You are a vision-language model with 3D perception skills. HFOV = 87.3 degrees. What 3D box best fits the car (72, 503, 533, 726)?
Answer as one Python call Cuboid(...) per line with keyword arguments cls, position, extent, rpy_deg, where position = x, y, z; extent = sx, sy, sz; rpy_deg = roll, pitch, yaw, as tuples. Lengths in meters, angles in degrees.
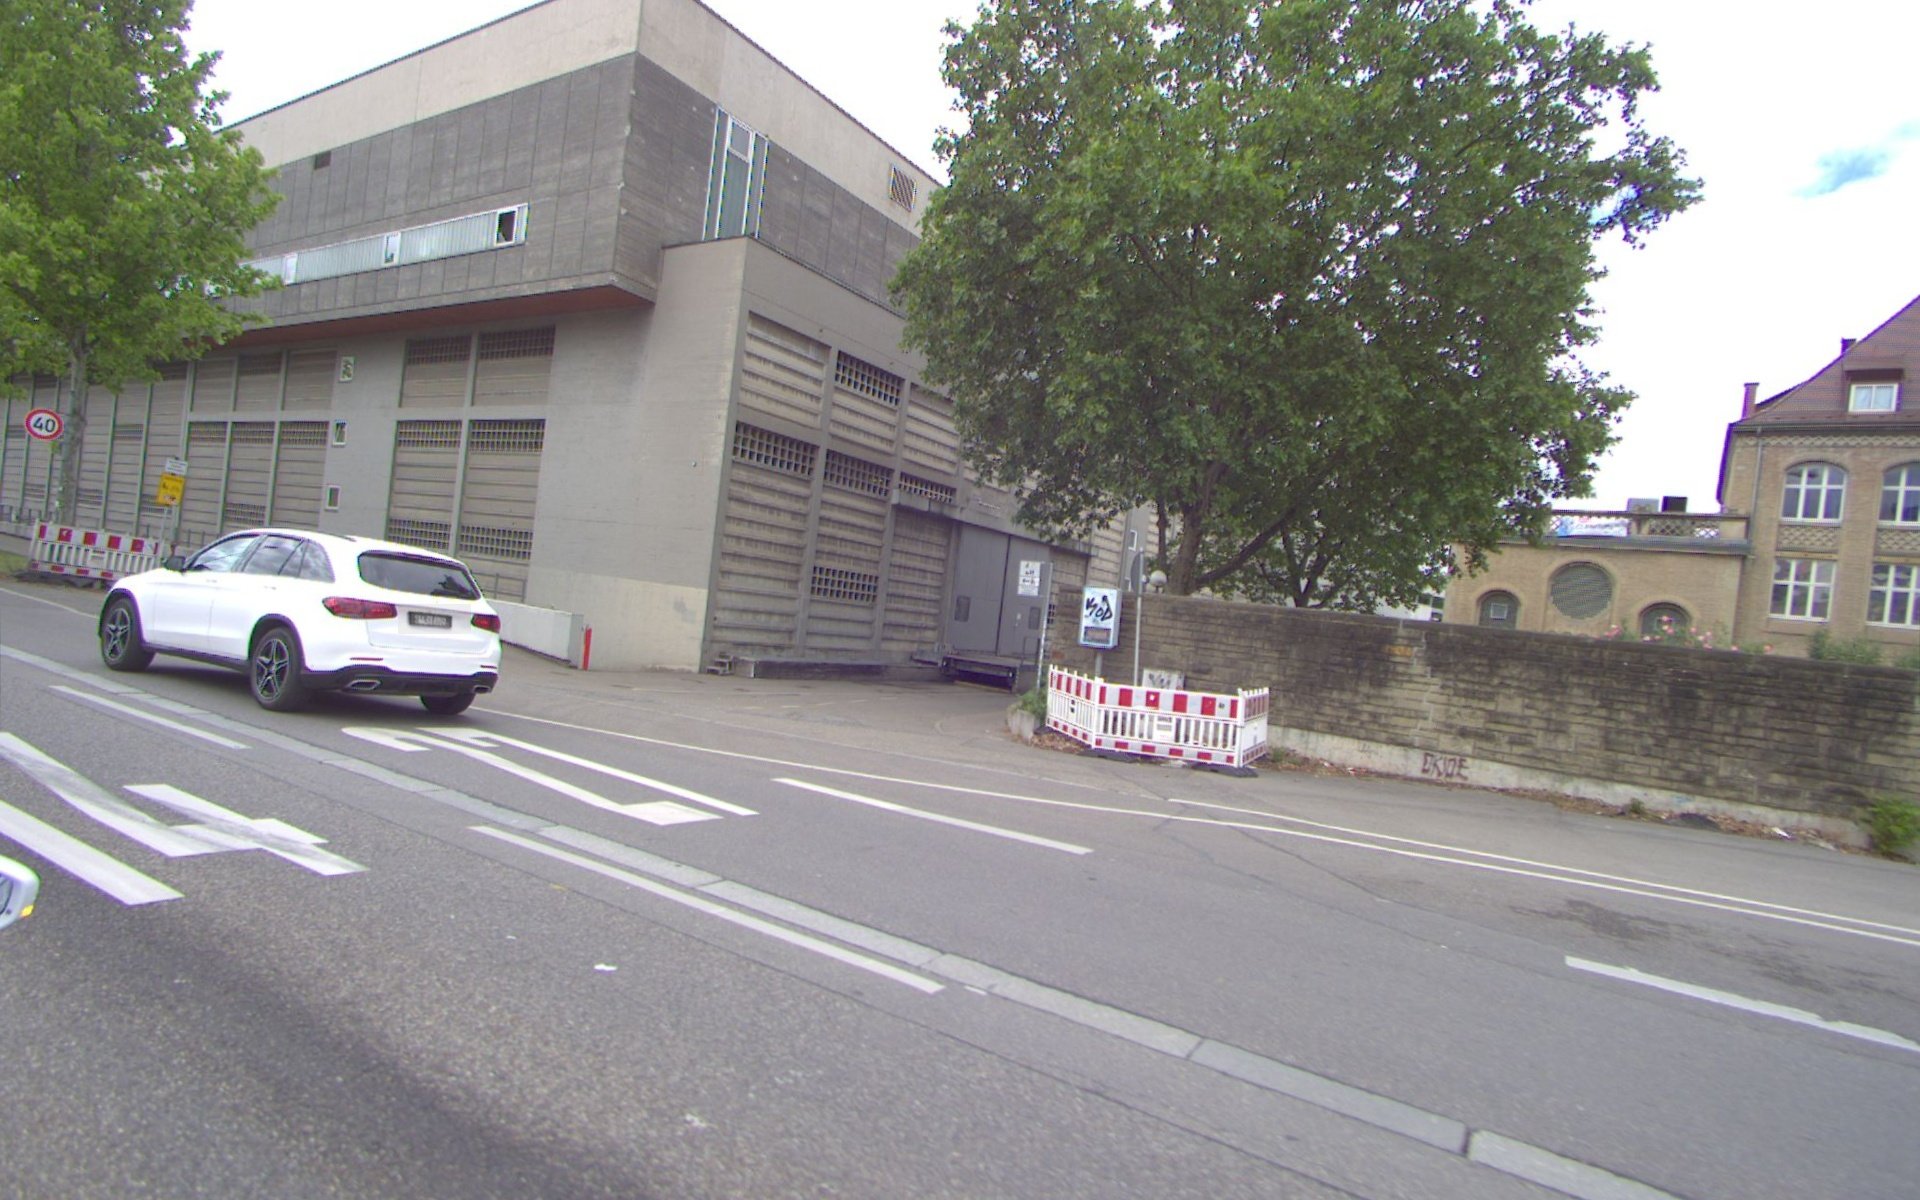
Cuboid(cls="car", position=(-6.701, 0.099, 10.173), extent=(4.473, 1.661, 1.816), rpy_deg=(6, -2, 27))
